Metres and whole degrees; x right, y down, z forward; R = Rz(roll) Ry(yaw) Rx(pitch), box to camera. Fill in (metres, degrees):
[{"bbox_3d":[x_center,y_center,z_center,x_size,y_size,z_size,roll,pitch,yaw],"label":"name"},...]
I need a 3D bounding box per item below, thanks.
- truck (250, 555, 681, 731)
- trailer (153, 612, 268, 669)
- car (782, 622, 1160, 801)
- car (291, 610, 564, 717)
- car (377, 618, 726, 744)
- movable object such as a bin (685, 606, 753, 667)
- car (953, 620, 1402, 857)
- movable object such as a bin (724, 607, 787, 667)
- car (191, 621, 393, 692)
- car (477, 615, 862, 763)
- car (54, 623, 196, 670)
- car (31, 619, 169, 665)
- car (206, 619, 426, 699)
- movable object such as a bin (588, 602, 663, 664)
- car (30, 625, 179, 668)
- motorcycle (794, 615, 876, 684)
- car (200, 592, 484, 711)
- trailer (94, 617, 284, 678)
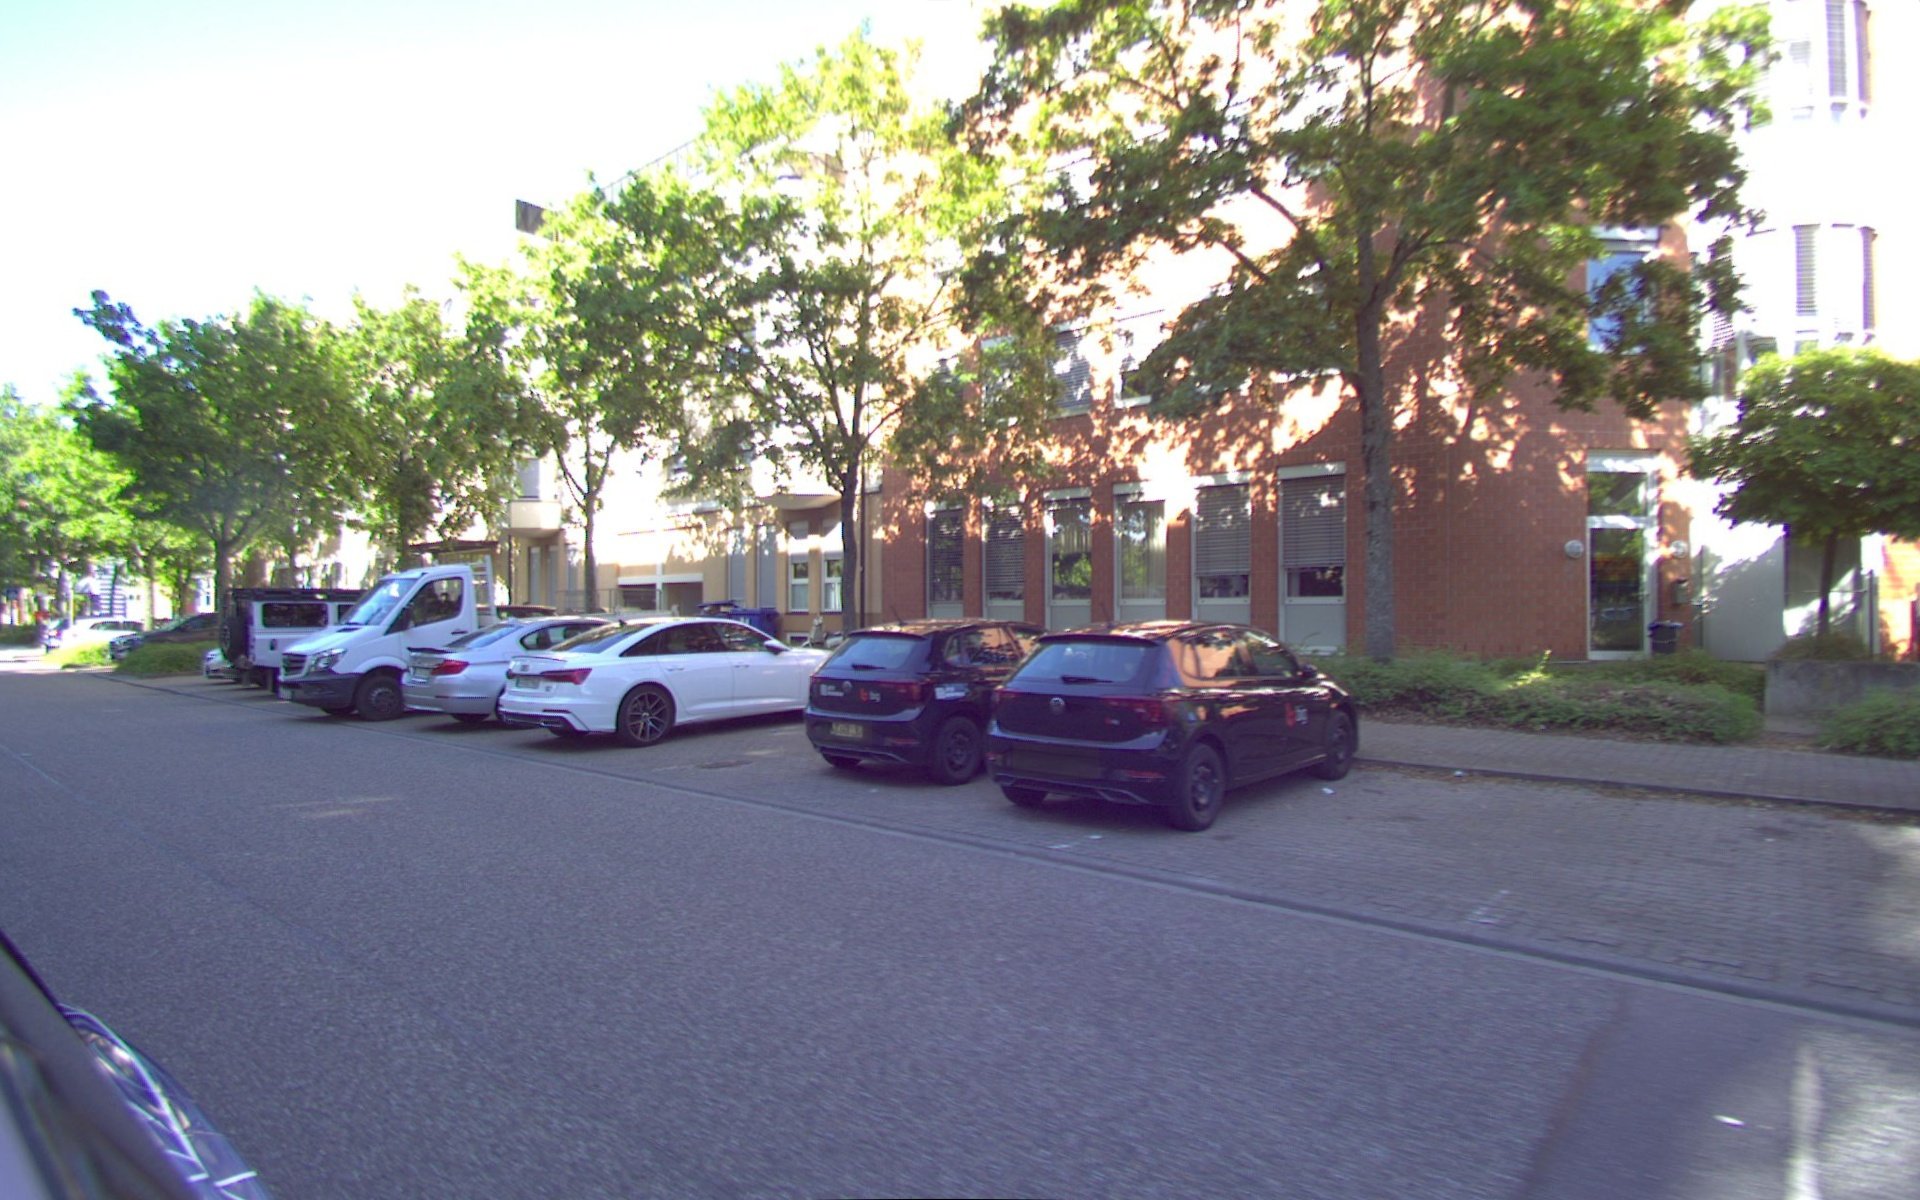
[{"bbox_3d":[-7.986,0.684,17.056,2.186,2.440,6.166,-1,-2,41],"label":"truck"},{"bbox_3d":[-24.334,1.285,32.895,1.711,1.700,2.697,-2,0,41],"label":"trailer"},{"bbox_3d":[0.284,0.962,10.288,1.721,1.446,3.946,-2,-2,41],"label":"car"},{"bbox_3d":[-9.832,1.078,18.922,1.998,1.674,4.067,-1,0,39],"label":"car"},{"bbox_3d":[-5.851,1.051,14.947,1.998,1.498,4.383,-1,-1,39],"label":"car"},{"bbox_3d":[-6.666,1.008,27.998,1.435,1.632,1.137,-1,-2,29],"label":"movable object such as a bin"},{"bbox_3d":[1.962,0.906,8.344,1.790,1.446,3.942,-1,-1,44],"label":"car"},{"bbox_3d":[-5.529,0.992,27.346,1.239,1.575,1.137,-1,-2,29],"label":"movable object such as a bin"},{"bbox_3d":[-16.074,1.296,24.471,1.733,1.472,3.792,-2,0,44],"label":"car"},{"bbox_3d":[-3.533,1.001,13.049,1.888,1.453,4.496,-2,-1,39],"label":"car"},{"bbox_3d":[-30.248,1.649,36.712,1.753,1.463,3.716,-1,0,40],"label":"car"},{"bbox_3d":[-34.317,1.650,40.443,1.727,1.582,3.947,-1,1,40],"label":"car"},{"bbox_3d":[-14.094,1.220,22.285,1.832,1.504,3.738,-2,0,42],"label":"car"},{"bbox_3d":[-10.275,1.005,31.117,1.664,1.810,1.582,-2,-2,42],"label":"movable object such as a bin"},{"bbox_3d":[-32.549,1.732,38.595,1.799,1.413,4.109,-1,0,40],"label":"car"},{"bbox_3d":[-3.031,1.181,24.417,2.108,1.603,0.707,-1,-2,40],"label":"motorcycle"},{"bbox_3d":[-12.216,0.908,20.265,1.998,2.067,4.438,-1,0,39],"label":"car"},{"bbox_3d":[-23.179,1.374,30.562,1.853,1.584,4.221,-1,0,37],"label":"trailer"}]
